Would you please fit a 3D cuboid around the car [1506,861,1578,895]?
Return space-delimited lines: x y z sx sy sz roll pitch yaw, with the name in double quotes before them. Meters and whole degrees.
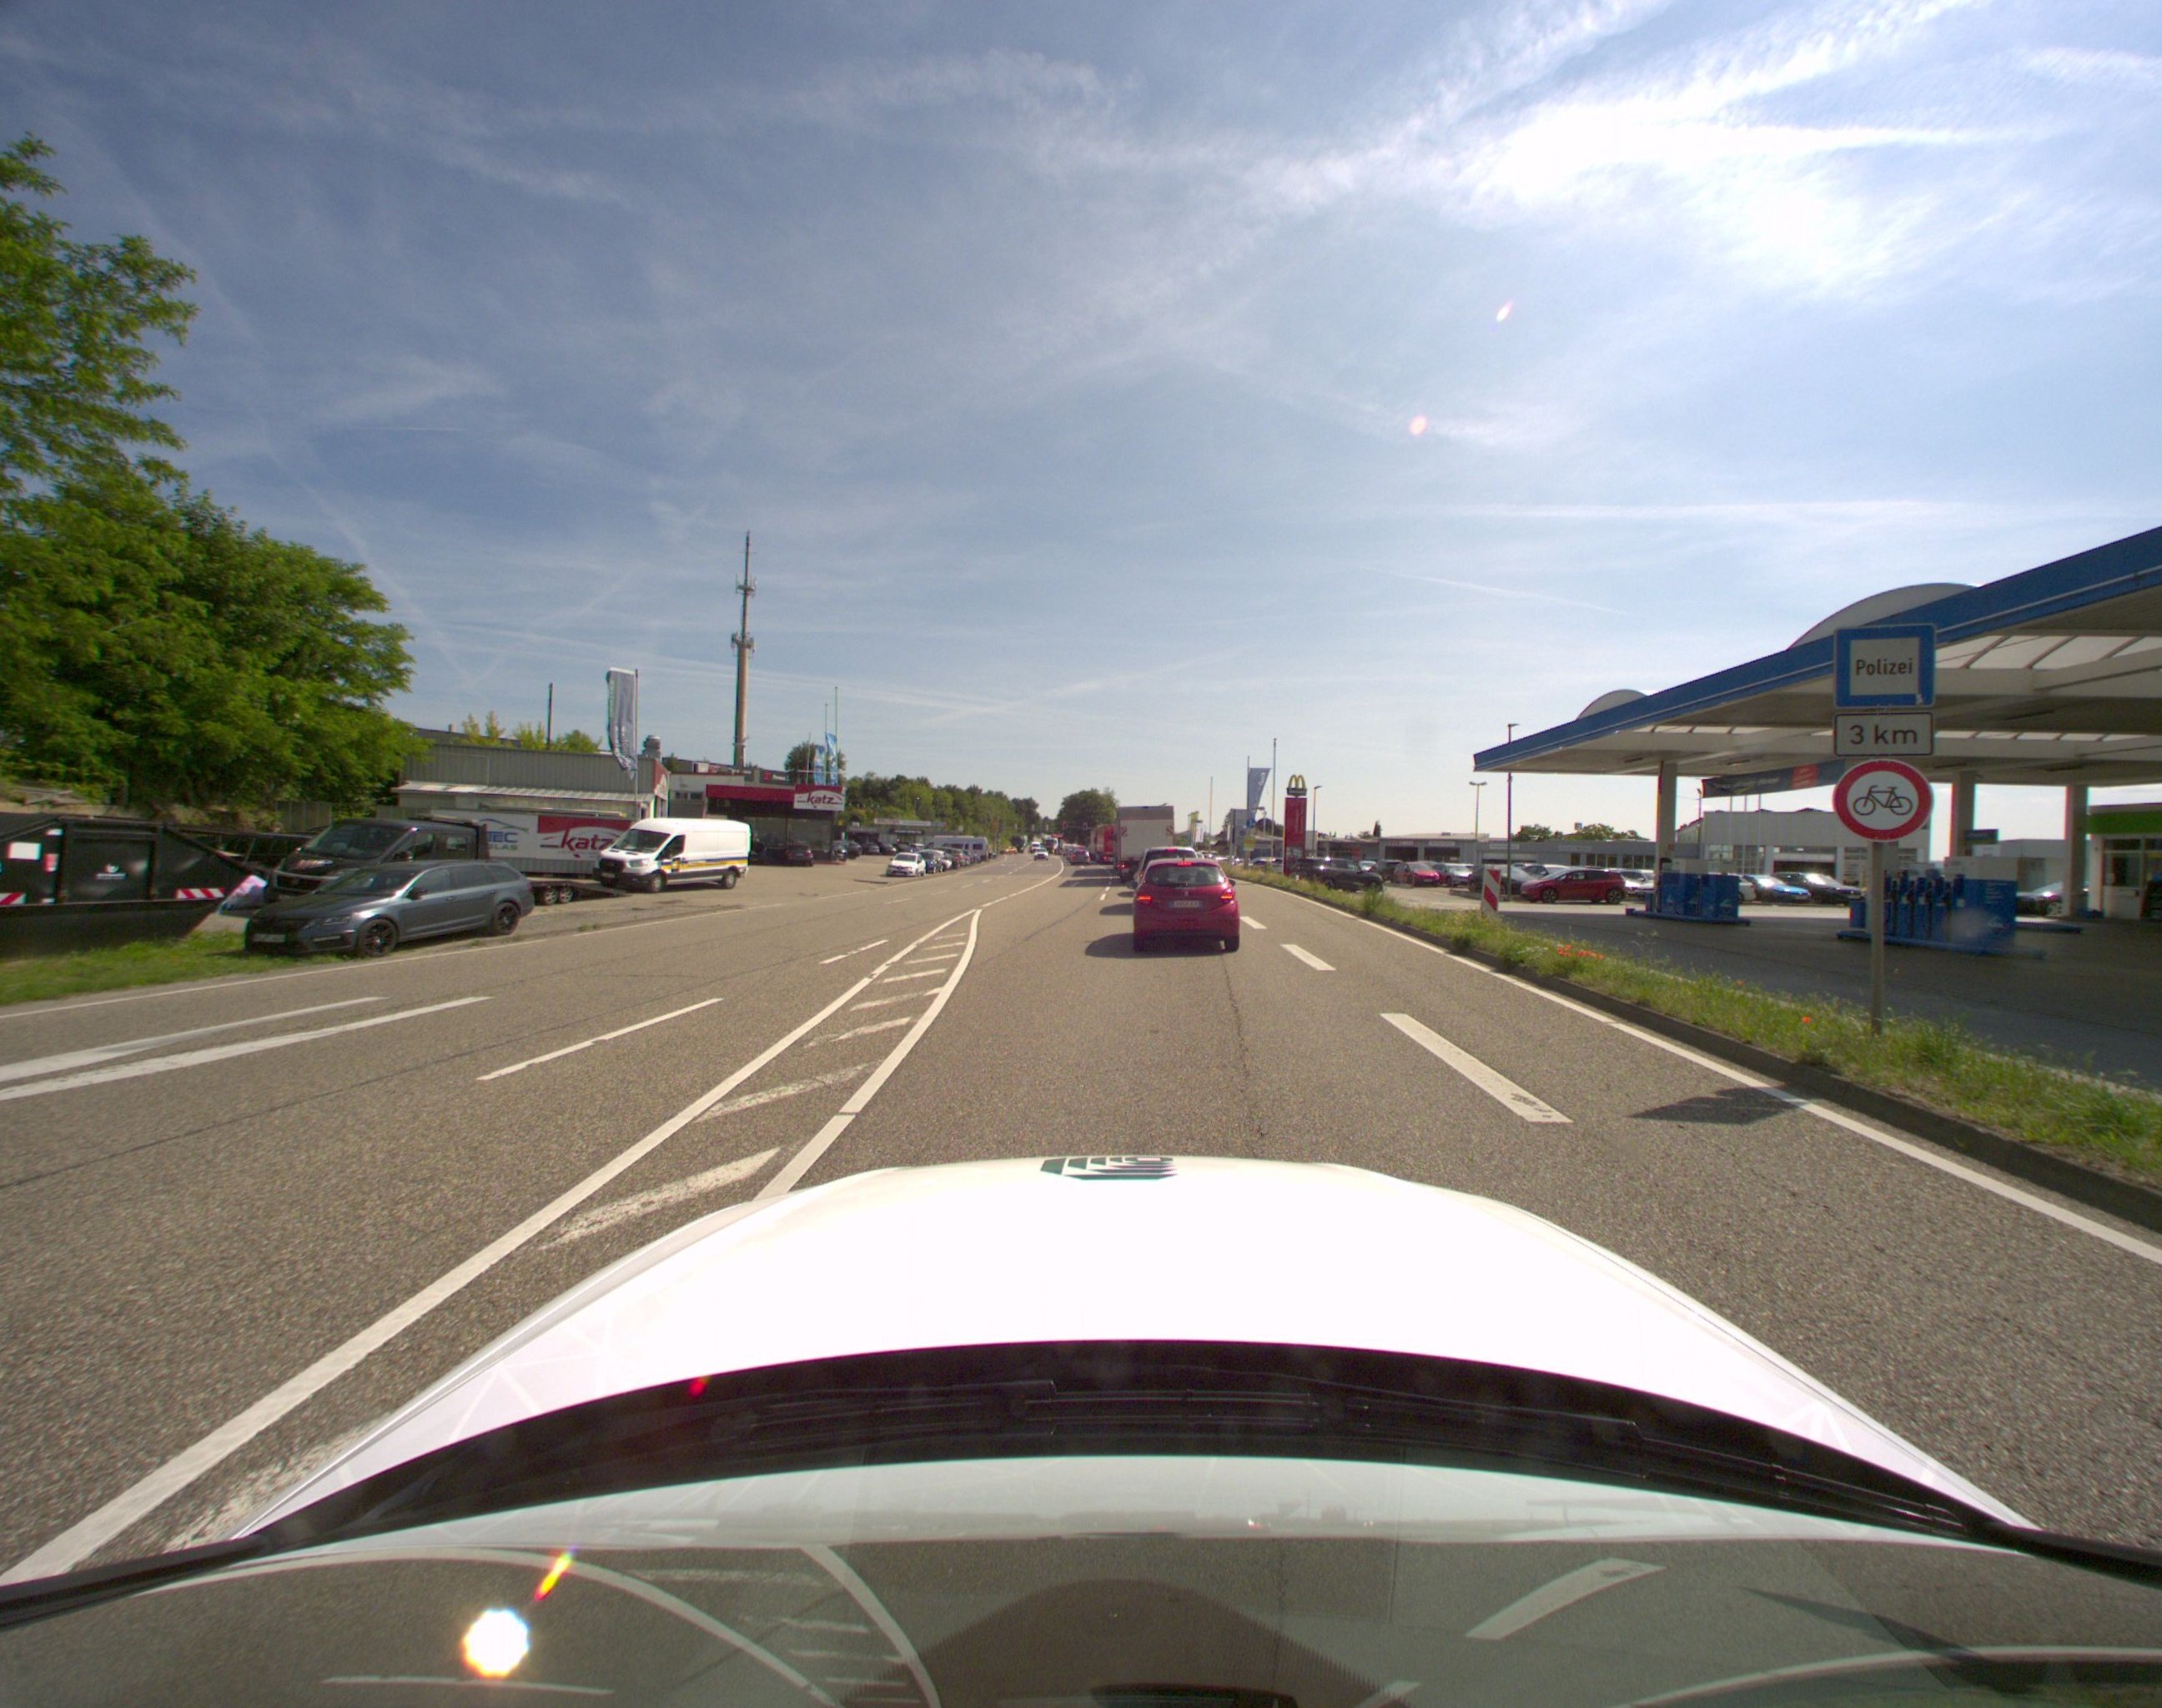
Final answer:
"car" 23.524 1.170 41.718 1.552 1.594 3.862 -1 0 1

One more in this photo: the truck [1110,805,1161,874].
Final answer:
"truck" 3.702 -0.977 59.384 2.880 4.265 16.713 1 0 1

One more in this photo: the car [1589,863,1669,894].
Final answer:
"car" 28.127 1.236 41.916 1.608 1.443 3.862 -1 0 1

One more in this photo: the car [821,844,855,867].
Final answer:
"car" -19.637 0.114 65.709 1.831 1.675 4.092 7 -3 -26

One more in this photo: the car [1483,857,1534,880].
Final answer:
"car" 28.340 0.948 54.100 1.552 1.409 3.690 -1 0 1

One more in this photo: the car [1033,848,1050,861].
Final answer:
"car" -5.149 0.029 105.977 1.928 1.674 4.001 -1 0 1

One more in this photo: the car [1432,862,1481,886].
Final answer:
"car" 23.976 1.238 52.162 1.552 1.409 3.597 -1 0 1

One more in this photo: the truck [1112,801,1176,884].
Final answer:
"truck" 3.118 -0.594 43.196 2.868 3.811 11.147 1 0 2

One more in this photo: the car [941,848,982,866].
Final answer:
"car" -11.718 0.292 79.967 3.700 1.484 1.706 4 1 -4

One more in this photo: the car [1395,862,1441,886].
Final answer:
"car" 21.518 1.258 52.171 1.552 1.409 3.597 -1 0 1

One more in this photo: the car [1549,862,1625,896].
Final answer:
"car" 26.140 1.265 42.226 1.608 1.594 3.862 -1 0 1

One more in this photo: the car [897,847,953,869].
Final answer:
"car" -11.469 0.283 60.085 3.787 1.525 1.844 0 0 -4

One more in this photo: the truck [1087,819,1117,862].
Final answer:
"truck" 2.696 -1.780 109.151 3.054 5.220 16.997 1 1 -2

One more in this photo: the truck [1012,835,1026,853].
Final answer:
"truck" -13.468 -2.091 177.390 2.809 3.786 6.977 -1 1 -5

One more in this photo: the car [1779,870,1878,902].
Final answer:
"car" 36.131 1.511 39.476 1.552 1.409 3.597 -1 0 1

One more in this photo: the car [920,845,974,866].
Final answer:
"car" -11.827 0.131 72.313 4.449 1.484 1.770 4 0 -4

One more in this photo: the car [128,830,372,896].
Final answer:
"car" -19.758 0.227 19.574 3.669 1.469 1.729 1 0 -18

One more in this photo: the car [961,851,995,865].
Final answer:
"car" -12.147 0.480 95.837 3.807 1.539 1.841 0 0 -3

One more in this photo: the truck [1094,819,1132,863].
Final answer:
"truck" 3.239 -1.331 88.242 2.949 4.269 16.574 1 1 -2

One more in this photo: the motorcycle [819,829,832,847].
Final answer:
"motorcycle" -19.171 -1.193 61.093 0.773 1.261 2.040 0 0 -22

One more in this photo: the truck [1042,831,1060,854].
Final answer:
"truck" -5.589 -2.195 154.070 2.947 4.209 10.645 -1 1 0

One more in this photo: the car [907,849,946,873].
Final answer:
"car" -10.735 0.457 56.840 1.773 1.494 3.782 5 0 1

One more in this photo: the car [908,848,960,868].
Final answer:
"car" -11.211 0.280 62.356 3.699 1.525 1.790 0 1 -4

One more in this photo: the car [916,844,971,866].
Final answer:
"car" -11.406 0.113 67.755 4.268 1.484 1.834 4 0 -4

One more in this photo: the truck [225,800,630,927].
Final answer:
"truck" -15.423 0.168 20.552 2.319 2.296 8.816 5 1 5

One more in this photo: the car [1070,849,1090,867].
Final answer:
"car" -0.087 0.353 77.665 1.783 1.638 3.505 0 0 2

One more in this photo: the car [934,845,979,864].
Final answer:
"car" -11.451 0.033 75.124 3.836 1.484 1.800 4 0 -4

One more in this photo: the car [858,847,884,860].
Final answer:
"car" -25.157 -0.064 97.420 1.776 1.588 3.788 0 1 -35

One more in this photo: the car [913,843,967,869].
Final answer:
"car" -11.228 0.161 65.068 3.877 1.716 1.804 4 0 -4

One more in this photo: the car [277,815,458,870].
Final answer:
"car" -21.143 -0.315 24.336 3.675 1.529 1.726 1 0 -24

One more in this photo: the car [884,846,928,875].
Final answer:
"car" -10.643 0.367 49.789 1.773 1.618 4.000 1 0 1
